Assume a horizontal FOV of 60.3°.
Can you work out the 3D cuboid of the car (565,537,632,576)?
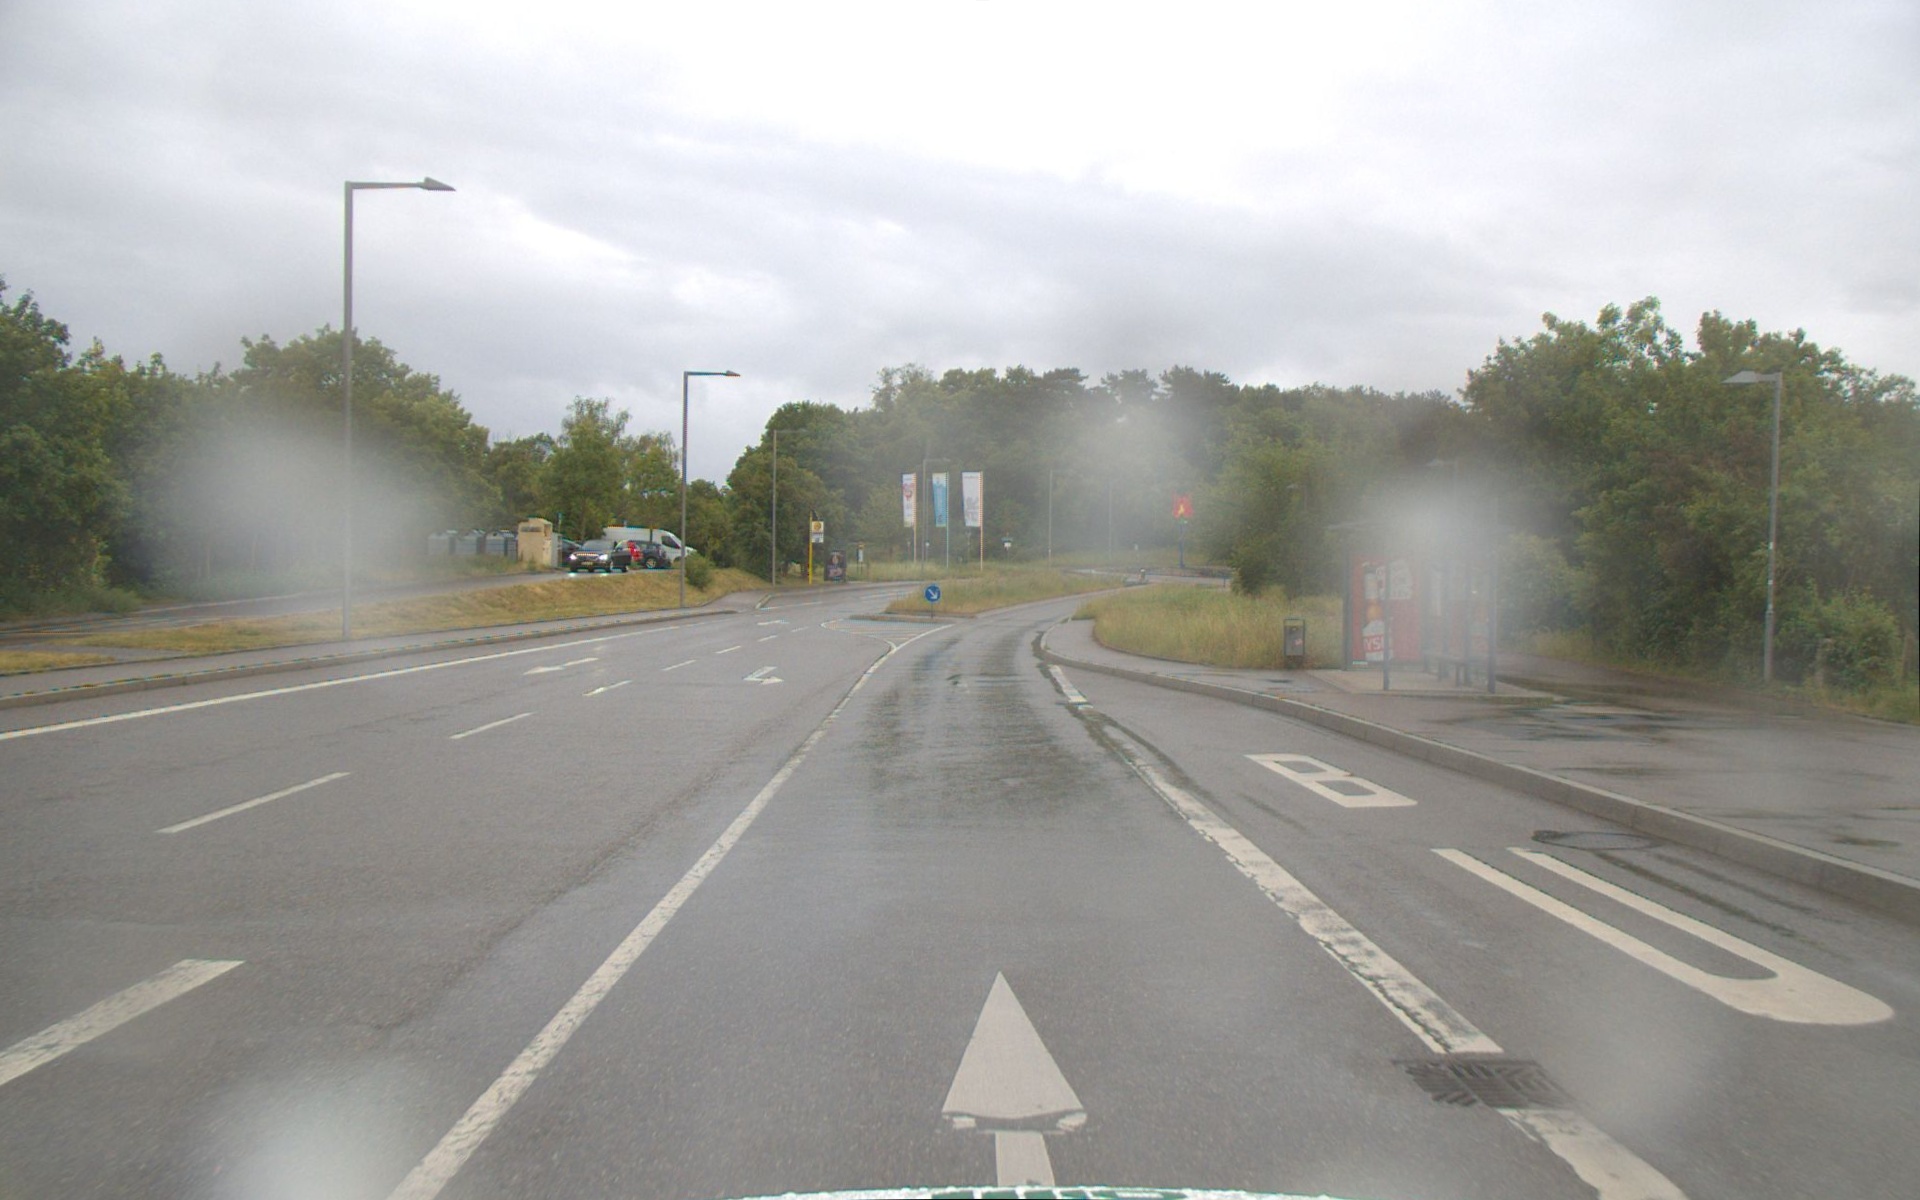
[{"bbox_3d":[-16.237,-1.985,74.456,1.656,1.595,4.545,4,3,4],"label":"car"}]

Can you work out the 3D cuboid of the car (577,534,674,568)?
[{"bbox_3d":[-17.453,-2.557,86.438,4.607,1.722,2.006,0,1,4],"label":"car"}]

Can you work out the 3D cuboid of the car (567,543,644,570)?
[{"bbox_3d":[-20.450,-2.517,95.482,3.903,1.494,1.849,1,1,5],"label":"car"}]

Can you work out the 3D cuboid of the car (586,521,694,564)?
[{"bbox_3d":[-20.546,-3.692,106.262,6.420,2.439,2.139,2,0,1],"label":"car"}]

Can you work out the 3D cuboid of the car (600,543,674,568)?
[{"bbox_3d":[-19.227,-2.649,98.476,3.902,1.387,1.849,1,1,7],"label":"car"}]
